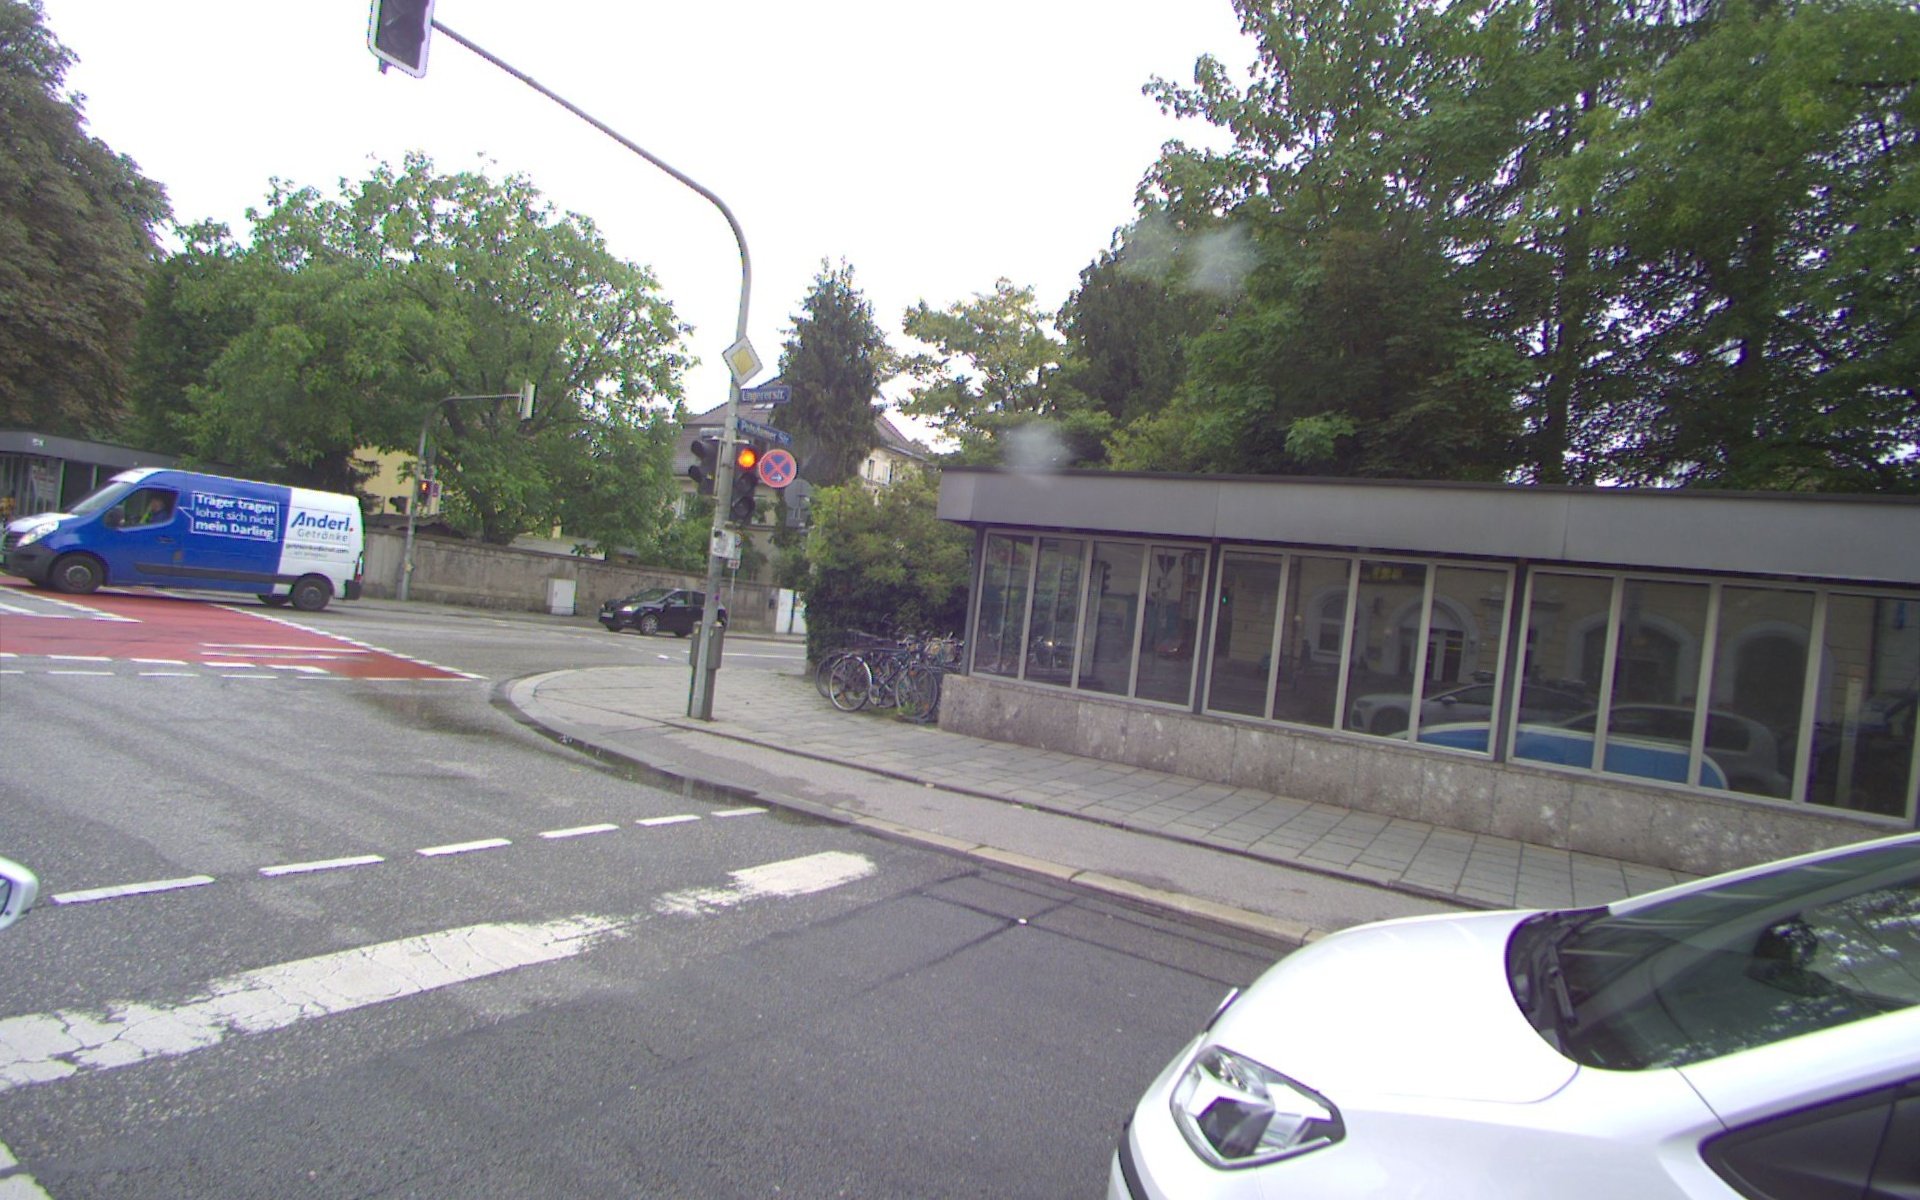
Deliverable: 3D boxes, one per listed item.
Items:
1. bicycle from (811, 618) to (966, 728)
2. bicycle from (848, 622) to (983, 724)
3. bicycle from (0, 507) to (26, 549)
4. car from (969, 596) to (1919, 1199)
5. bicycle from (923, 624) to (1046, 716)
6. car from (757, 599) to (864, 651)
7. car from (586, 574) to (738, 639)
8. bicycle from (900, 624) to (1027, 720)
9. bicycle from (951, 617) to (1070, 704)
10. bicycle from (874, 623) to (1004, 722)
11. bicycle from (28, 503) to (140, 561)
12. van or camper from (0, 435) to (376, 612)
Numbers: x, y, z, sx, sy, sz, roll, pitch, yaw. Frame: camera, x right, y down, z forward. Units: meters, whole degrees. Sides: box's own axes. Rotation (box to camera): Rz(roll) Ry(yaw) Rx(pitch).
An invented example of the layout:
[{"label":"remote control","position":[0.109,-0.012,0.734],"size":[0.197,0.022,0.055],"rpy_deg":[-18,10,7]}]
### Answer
[{"label":"bicycle","position":[-0.925,0.899,12.710],"size":[1.858,1.135,0.600],"rpy_deg":[6,0,32]},{"label":"bicycle","position":[-0.602,0.945,13.281],"size":[1.707,1.135,0.469],"rpy_deg":[6,0,32]},{"label":"bicycle","position":[-26.313,-2.019,27.454],"size":[1.981,1.027,0.557],"rpy_deg":[7,0,30]},{"label":"car","position":[1.958,1.019,1.558],"size":[3.526,1.581,1.645],"rpy_deg":[7,0,31]},{"label":"bicycle","position":[0.343,1.012,14.842],"size":[1.707,1.135,0.469],"rpy_deg":[6,0,32]},{"label":"car","position":[-5.042,0.886,34.383],"size":[1.613,1.414,3.691],"rpy_deg":[7,-1,29]},{"label":"car","position":[-8.475,0.223,28.849],"size":[1.669,1.414,3.838],"rpy_deg":[7,-1,37]},{"label":"bicycle","position":[0.033,1.009,14.328],"size":[1.707,1.135,0.469],"rpy_deg":[6,0,32]},{"label":"bicycle","position":[0.760,0.922,15.489],"size":[1.707,1.135,0.469],"rpy_deg":[6,0,32]},{"label":"bicycle","position":[-0.305,0.977,13.779],"size":[1.707,1.135,0.469],"rpy_deg":[6,0,32]},{"label":"bicycle","position":[-23.729,-1.825,27.282],"size":[0.594,1.233,2.141],"rpy_deg":[7,0,39]},{"label":"van or camper","position":[-14.744,-1.318,19.344],"size":[2.034,2.499,5.555],"rpy_deg":[7,-1,35]}]
